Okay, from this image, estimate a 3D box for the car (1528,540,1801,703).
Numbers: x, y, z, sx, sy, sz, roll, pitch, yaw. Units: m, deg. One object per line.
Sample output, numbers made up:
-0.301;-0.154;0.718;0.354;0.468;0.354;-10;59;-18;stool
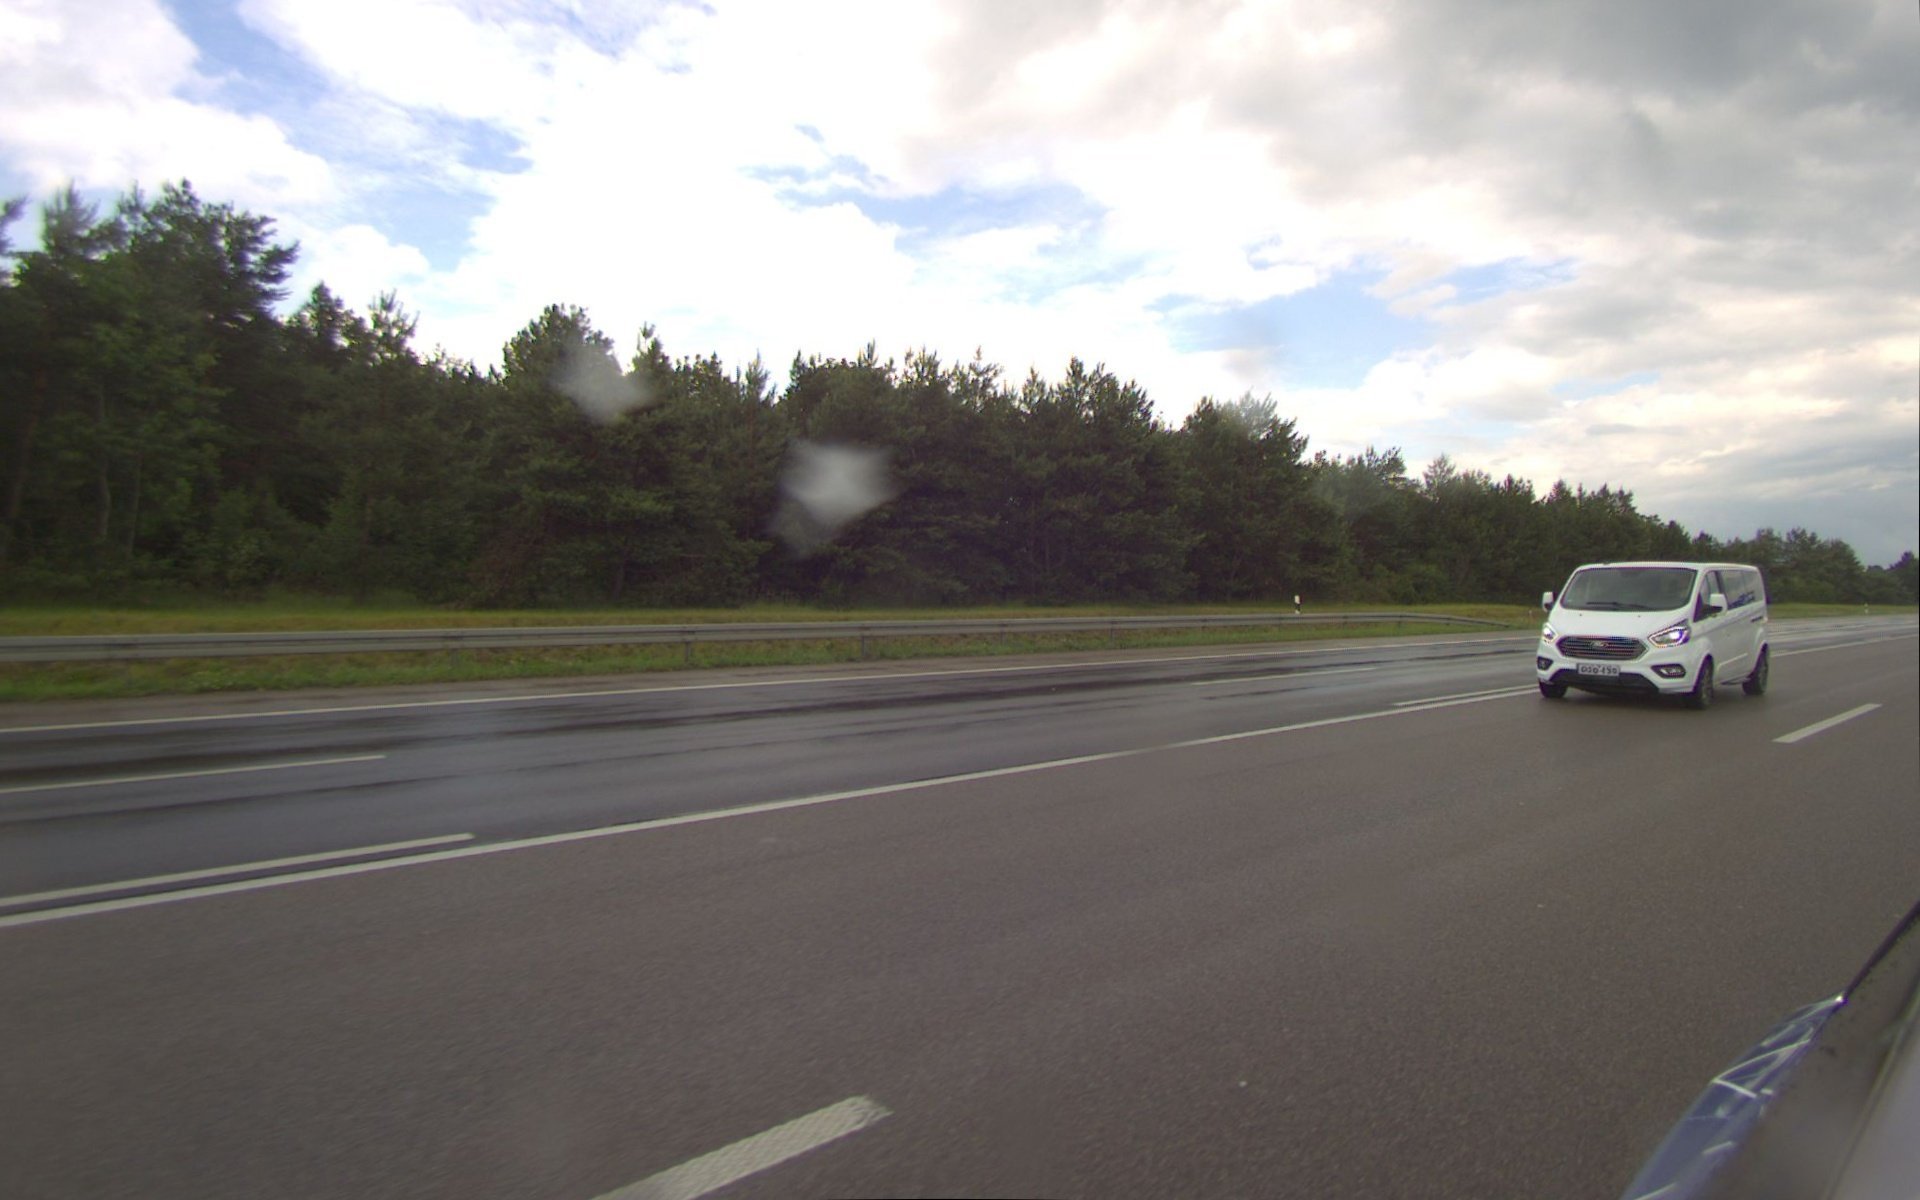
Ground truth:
10.674;0.259;15.144;5.384;2.039;1.998;0;0;-40;car
